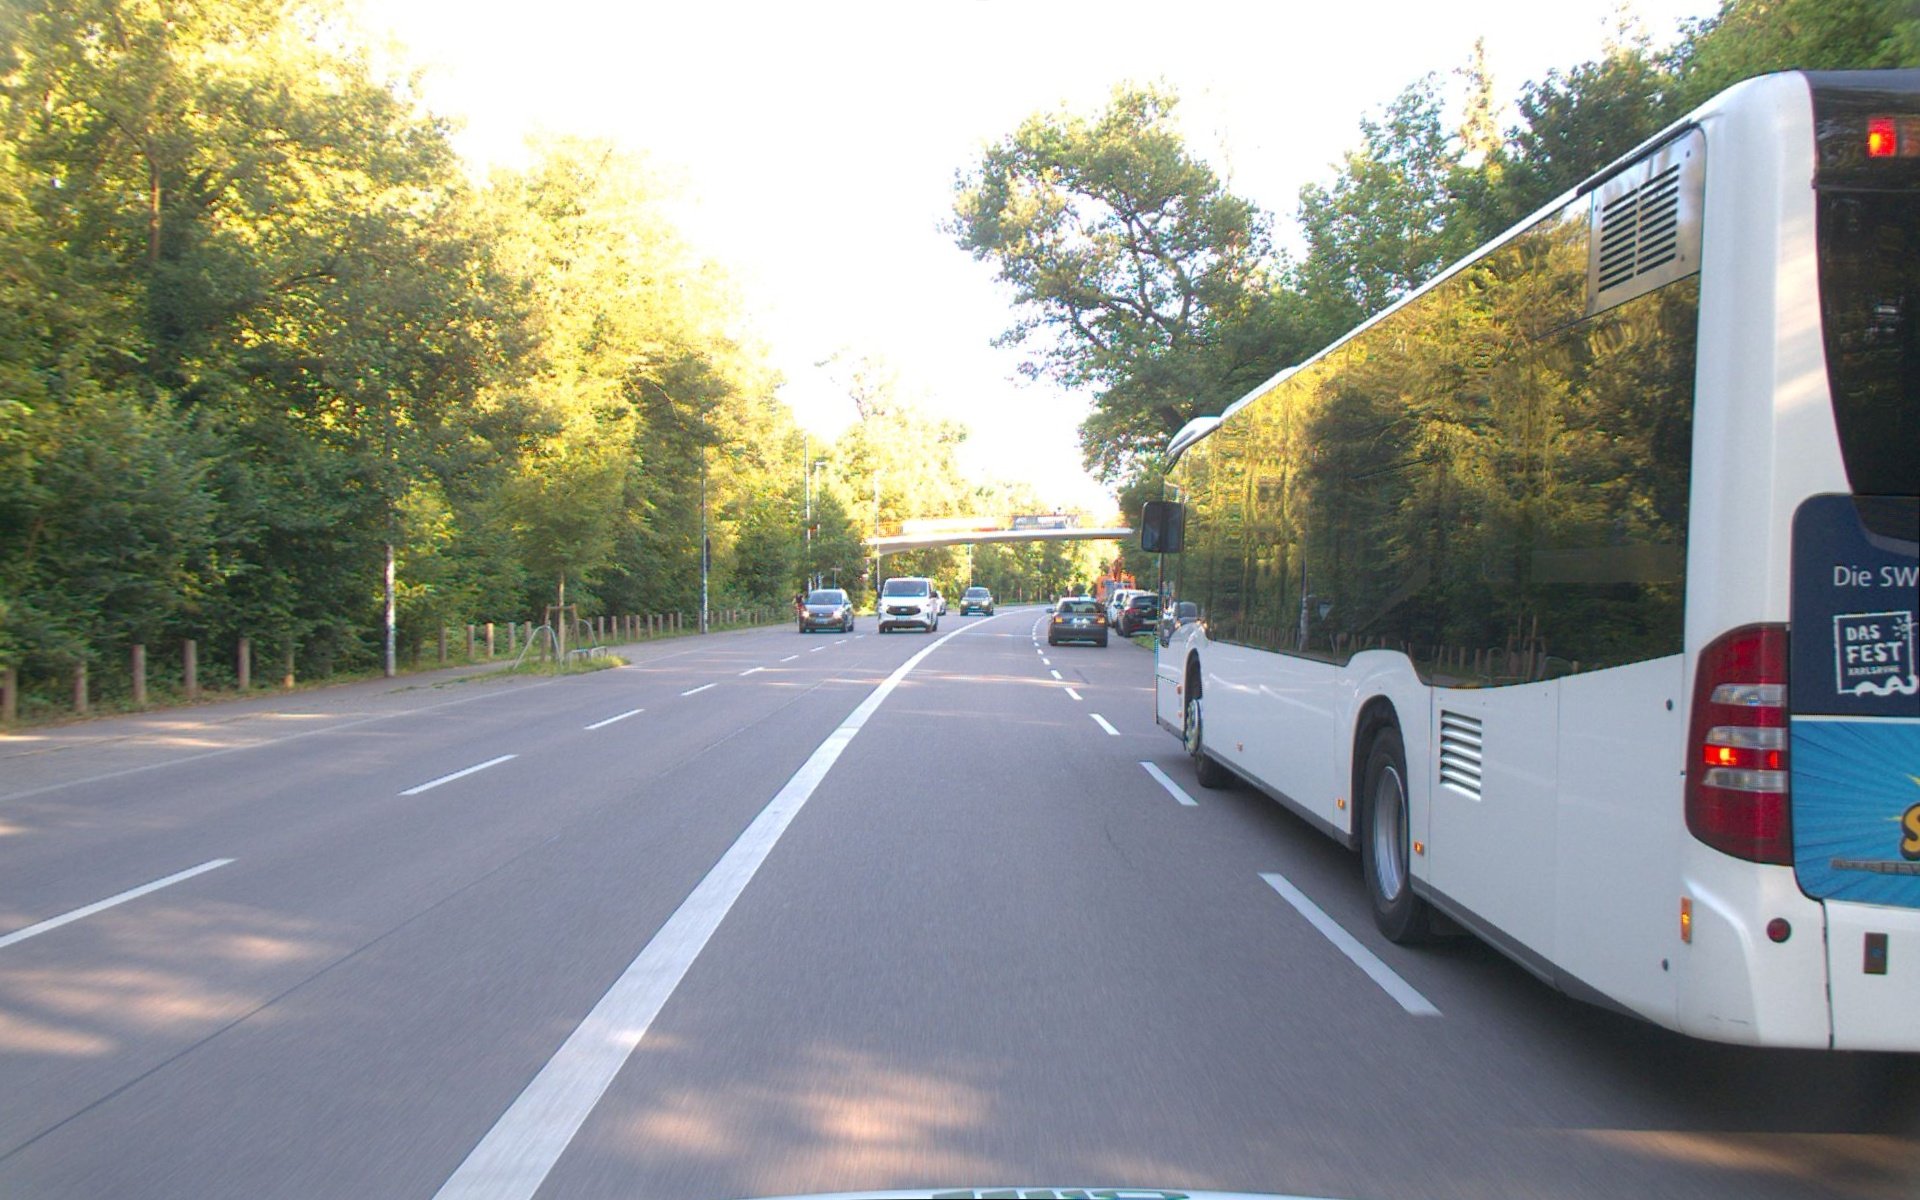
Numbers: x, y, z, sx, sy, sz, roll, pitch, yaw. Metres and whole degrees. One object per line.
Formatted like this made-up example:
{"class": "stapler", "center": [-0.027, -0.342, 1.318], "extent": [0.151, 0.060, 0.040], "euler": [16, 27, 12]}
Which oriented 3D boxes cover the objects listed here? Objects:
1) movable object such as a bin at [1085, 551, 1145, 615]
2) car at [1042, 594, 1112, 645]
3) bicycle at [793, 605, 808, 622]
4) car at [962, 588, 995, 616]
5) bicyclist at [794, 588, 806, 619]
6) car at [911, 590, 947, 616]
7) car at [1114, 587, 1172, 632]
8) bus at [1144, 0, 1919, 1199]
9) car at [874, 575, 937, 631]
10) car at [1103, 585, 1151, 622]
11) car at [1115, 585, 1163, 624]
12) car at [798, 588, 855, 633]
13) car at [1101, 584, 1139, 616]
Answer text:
{"class": "movable object such as a bin", "center": [8.730, -0.957, 93.643], "extent": [2.702, 3.429, 7.600], "euler": [0, 0, 0]}
{"class": "car", "center": [3.462, 0.544, 49.610], "extent": [1.693, 1.467, 4.088], "euler": [0, 0, -2]}
{"class": "bicycle", "center": [-7.899, 0.661, 82.135], "extent": [0.484, 0.828, 1.809], "euler": [1, 1, 2]}
{"class": "car", "center": [1.165, 0.105, 102.285], "extent": [1.878, 1.734, 4.444], "euler": [0, 0, 3]}
{"class": "bicyclist", "center": [-7.915, 0.185, 82.010], "extent": [0.489, 1.510, 0.761], "euler": [0, 0, 2]}
{"class": "car", "center": [-1.892, 0.193, 102.679], "extent": [1.858, 1.558, 4.531], "euler": [0, 0, 3]}
{"class": "car", "center": [6.487, 0.311, 58.938], "extent": [1.692, 1.551, 4.091], "euler": [0, 0, 1]}
{"class": "bus", "center": [3.183, -0.100, 10.103], "extent": [2.649, 3.278, 12.277], "euler": [0, 0, -1]}
{"class": "car", "center": [-1.978, 0.087, 61.314], "extent": [2.161, 1.995, 4.913], "euler": [0, 0, 0]}
{"class": "car", "center": [7.481, 0.136, 74.467], "extent": [1.800, 1.601, 4.460], "euler": [0, 0, 1]}
{"class": "car", "center": [7.469, 0.172, 69.260], "extent": [1.692, 1.569, 4.090], "euler": [0, 0, 1]}
{"class": "car", "center": [-4.960, 0.374, 61.743], "extent": [1.763, 1.627, 4.000], "euler": [0, 0, 0]}
{"class": "car", "center": [8.227, -0.028, 85.406], "extent": [1.692, 1.601, 4.090], "euler": [0, 0, 1]}
